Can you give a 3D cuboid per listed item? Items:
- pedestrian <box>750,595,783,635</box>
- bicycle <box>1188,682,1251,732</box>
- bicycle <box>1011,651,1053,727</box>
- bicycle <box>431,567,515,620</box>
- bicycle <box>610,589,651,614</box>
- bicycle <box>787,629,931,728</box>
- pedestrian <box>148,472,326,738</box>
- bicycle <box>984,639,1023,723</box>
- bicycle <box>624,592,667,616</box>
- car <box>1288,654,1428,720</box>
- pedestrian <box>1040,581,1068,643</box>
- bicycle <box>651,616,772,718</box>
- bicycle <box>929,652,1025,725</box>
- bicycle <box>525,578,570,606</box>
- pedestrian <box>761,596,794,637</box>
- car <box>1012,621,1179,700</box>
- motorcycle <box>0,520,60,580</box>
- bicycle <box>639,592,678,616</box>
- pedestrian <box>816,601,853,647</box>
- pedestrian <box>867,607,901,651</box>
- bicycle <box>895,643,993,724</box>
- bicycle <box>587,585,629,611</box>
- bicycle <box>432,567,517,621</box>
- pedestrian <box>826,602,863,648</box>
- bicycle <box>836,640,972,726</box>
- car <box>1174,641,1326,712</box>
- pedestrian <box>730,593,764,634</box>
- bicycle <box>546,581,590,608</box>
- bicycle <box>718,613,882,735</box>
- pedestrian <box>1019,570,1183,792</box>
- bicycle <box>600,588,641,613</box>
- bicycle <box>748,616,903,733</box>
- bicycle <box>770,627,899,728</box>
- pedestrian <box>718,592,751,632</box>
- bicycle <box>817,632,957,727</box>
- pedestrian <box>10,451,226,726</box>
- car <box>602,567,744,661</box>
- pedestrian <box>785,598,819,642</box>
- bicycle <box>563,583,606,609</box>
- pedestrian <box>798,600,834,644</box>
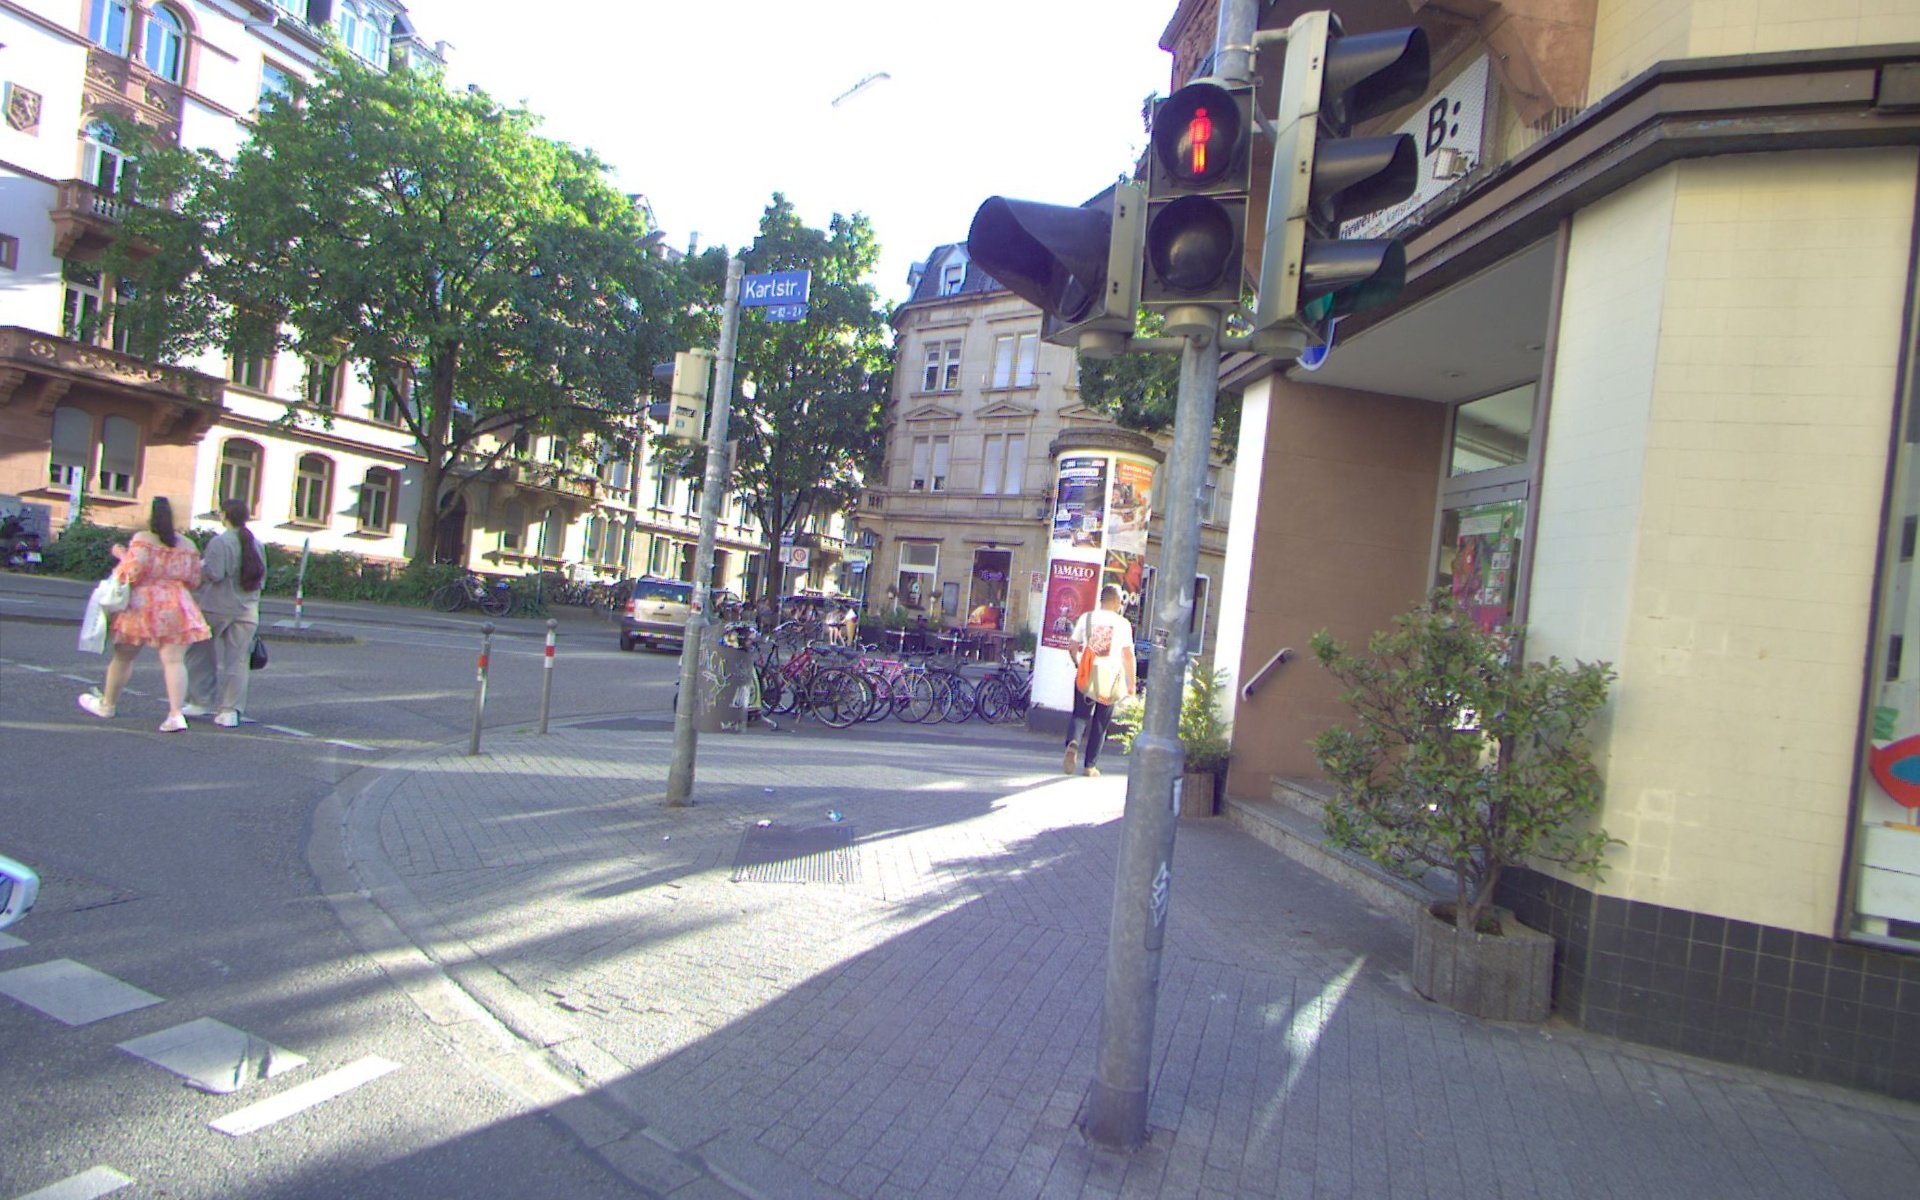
[{"bbox_3d":[-7.374,0.577,38.343,0.906,1.448,0.758,2,3,-36],"label":"pedestrian"},{"bbox_3d":[4.471,1.832,17.300,1.126,0.768,0.395,1,3,-36],"label":"bicycle"},{"bbox_3d":[1.135,1.389,15.995,0.442,1.099,1.405,5,-1,-1],"label":"bicycle"},{"bbox_3d":[-12.819,-0.165,26.490,1.845,1.176,0.555,7,1,-31],"label":"bicycle"},{"bbox_3d":[-14.705,0.066,44.892,1.765,0.904,0.493,6,0,24],"label":"bicycle"},{"bbox_3d":[-1.368,1.030,13.466,1.887,1.112,0.450,4,0,26],"label":"bicycle"},{"bbox_3d":[-5.640,0.046,7.873,0.658,1.931,0.692,8,0,24],"label":"pedestrian"},{"bbox_3d":[0.690,1.277,16.249,0.442,1.238,1.405,5,-1,-1],"label":"bicycle"},{"bbox_3d":[-13.730,0.188,43.933,0.486,0.904,1.792,6,-1,36],"label":"bicycle"},{"bbox_3d":[12.383,2.706,31.292,3.952,1.593,1.792,7,-1,-27],"label":"car"},{"bbox_3d":[3.152,0.410,33.862,0.726,1.990,0.730,6,0,4],"label":"pedestrian"},{"bbox_3d":[-2.876,0.768,11.652,1.045,1.057,0.779,4,-1,31],"label":"bicycle"},{"bbox_3d":[0.251,1.345,15.482,1.382,0.961,0.449,4,-1,34],"label":"bicycle"},{"bbox_3d":[-16.463,-0.315,40.160,1.765,0.904,0.493,6,0,24],"label":"bicycle"},{"bbox_3d":[-6.776,0.614,37.362,0.905,1.448,0.758,2,3,-35],"label":"pedestrian"},{"bbox_3d":[3.575,1.592,26.489,3.952,1.593,1.792,7,-1,-27],"label":"car"},{"bbox_3d":[-20.216,-1.102,21.608,2.249,1.033,0.720,9,1,33],"label":"motorcycle"},{"bbox_3d":[-13.984,0.196,46.612,1.765,0.904,0.493,6,0,24],"label":"bicycle"},{"bbox_3d":[-4.225,0.807,33.816,0.906,1.448,0.758,2,3,-36],"label":"pedestrian"},{"bbox_3d":[-2.664,1.021,35.187,0.758,1.448,0.906,2,3,-38],"label":"pedestrian"},{"bbox_3d":[-0.254,1.228,15.046,1.382,1.055,0.449,4,-1,34],"label":"bicycle"},{"bbox_3d":[-15.147,-0.077,43.310,1.765,0.904,0.493,6,0,24],"label":"bicycle"},{"bbox_3d":[-12.527,-0.148,25.969,1.845,1.176,0.555,7,1,-31],"label":"bicycle"},{"bbox_3d":[-3.806,0.835,33.165,0.905,1.448,0.758,2,3,-35],"label":"pedestrian"},{"bbox_3d":[-0.817,1.168,14.376,1.887,1.012,0.450,4,-1,26],"label":"bicycle"},{"bbox_3d":[8.397,2.214,29.095,3.952,1.593,1.792,7,-1,-27],"label":"car"},{"bbox_3d":[-7.801,0.497,36.824,0.905,1.448,0.758,2,3,-35],"label":"pedestrian"},{"bbox_3d":[-16.015,-0.238,41.079,1.765,0.904,0.493,6,0,24],"label":"bicycle"},{"bbox_3d":[-1.926,0.861,12.022,1.887,1.238,0.505,5,0,26],"label":"bicycle"},{"bbox_3d":[1.279,0.704,9.144,1.082,1.825,0.798,2,6,-41],"label":"pedestrian"},{"bbox_3d":[-14.930,0.024,44.253,1.765,0.904,0.493,6,0,24],"label":"bicycle"},{"bbox_3d":[-1.687,0.902,12.483,1.887,1.238,0.450,5,0,26],"label":"bicycle"},{"bbox_3d":[-1.632,0.981,13.021,1.583,1.125,0.450,5,0,26],"label":"bicycle"},{"bbox_3d":[-8.429,0.450,37.636,0.906,1.448,0.758,2,3,-36],"label":"pedestrian"},{"bbox_3d":[-1.023,1.082,13.956,1.887,1.112,0.450,4,0,26],"label":"bicycle"},{"bbox_3d":[-6.074,-0.075,7.275,0.750,1.819,0.807,7,-4,37],"label":"pedestrian"},{"bbox_3d":[-6.460,0.421,23.135,1.963,1.634,4.008,7,-5,0],"label":"car"},{"bbox_3d":[-5.579,0.706,35.511,0.906,1.448,0.758,2,3,-36],"label":"pedestrian"},{"bbox_3d":[-15.621,-0.171,41.872,1.765,0.904,0.493,6,0,24],"label":"bicycle"},{"bbox_3d":[-4.967,0.750,34.687,0.905,1.448,0.758,2,3,-35],"label":"pedestrian"}]
